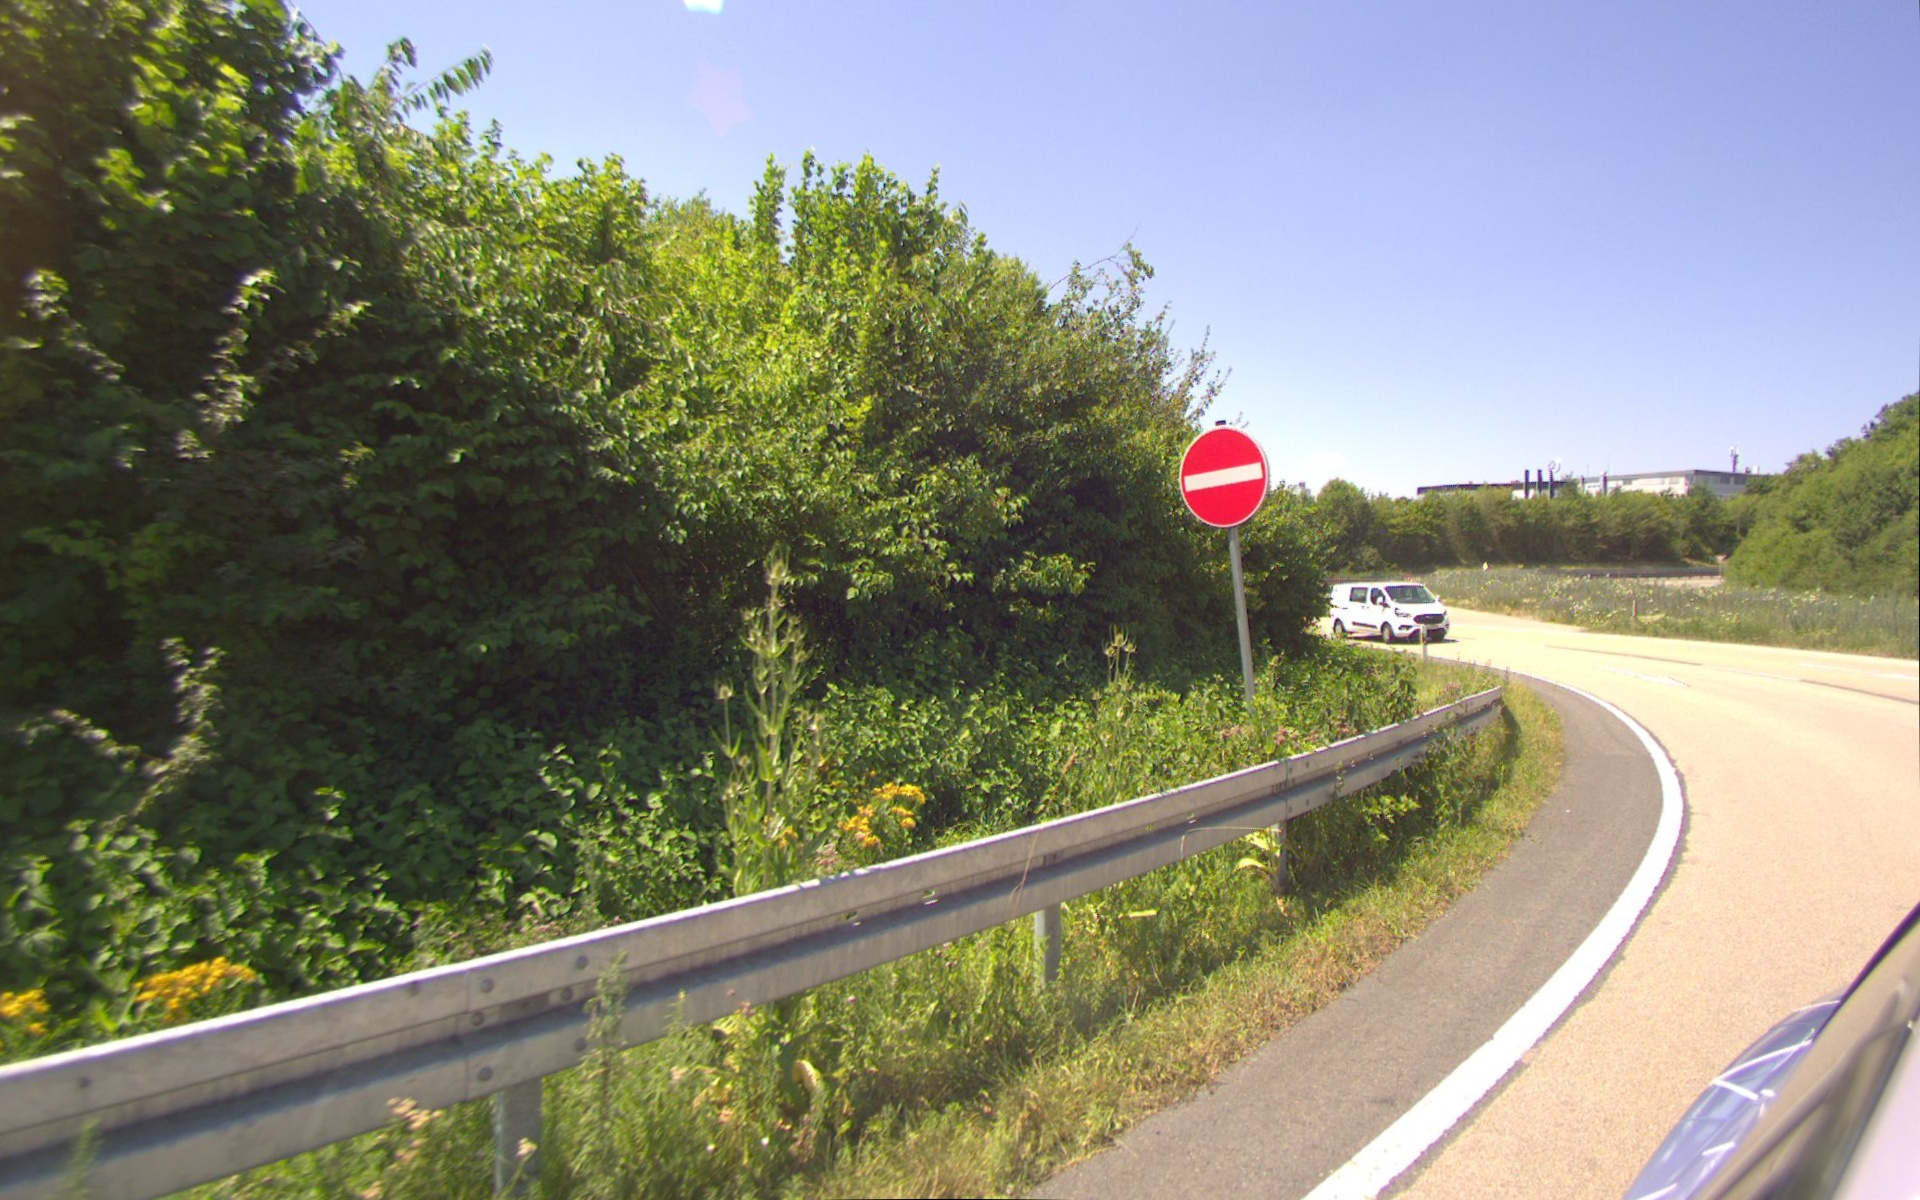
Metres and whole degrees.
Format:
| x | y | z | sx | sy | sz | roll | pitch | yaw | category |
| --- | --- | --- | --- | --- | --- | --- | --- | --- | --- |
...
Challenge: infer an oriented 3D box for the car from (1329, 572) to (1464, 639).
| x | y | z | sx | sy | sz | roll | pitch | yaw | category |
| --- | --- | --- | --- | --- | --- | --- | --- | --- | --- |
| 14.927 | 0.138 | 34.994 | 2.023 | 2.038 | 5.047 | -3 | 1 | -5 | car |
